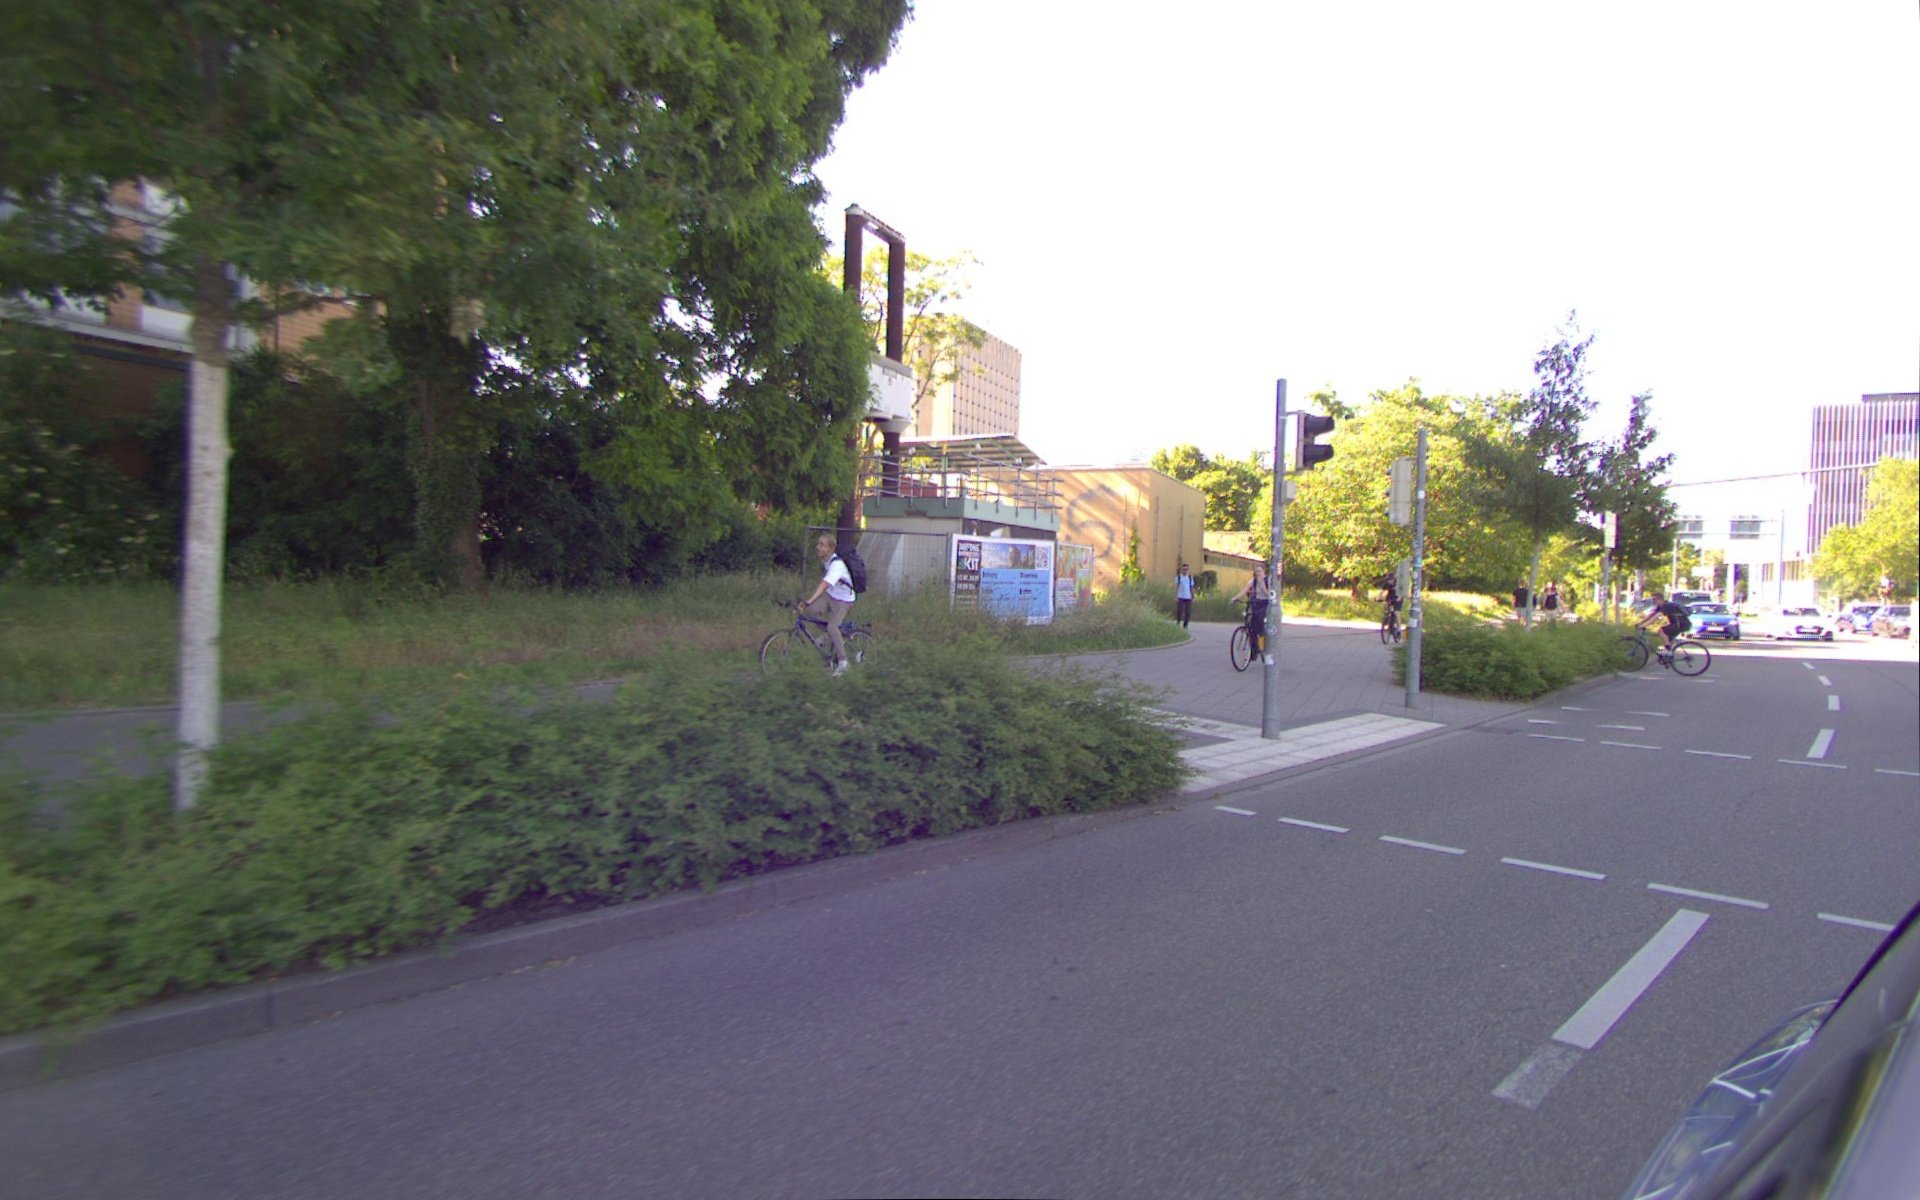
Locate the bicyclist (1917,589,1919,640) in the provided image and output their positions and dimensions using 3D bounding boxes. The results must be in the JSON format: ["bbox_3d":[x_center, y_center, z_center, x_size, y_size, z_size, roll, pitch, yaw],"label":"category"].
[{"bbox_3d":[32.537,0.515,33.665,0.740,1.705,0.967,2,2,30],"label":"bicyclist"}]

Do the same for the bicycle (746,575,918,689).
[{"bbox_3d":[-1.437,0.337,11.639,1.924,1.179,0.642,0,4,-44],"label":"bicycle"}]

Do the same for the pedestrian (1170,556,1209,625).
[{"bbox_3d":[5.784,-0.233,25.552,0.664,1.664,0.737,3,-1,-9],"label":"pedestrian"}]

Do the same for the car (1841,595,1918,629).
[{"bbox_3d":[45.281,0.545,49.932,1.968,1.574,4.670,1,0,32],"label":"car"}]

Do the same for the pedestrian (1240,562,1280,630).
[{"bbox_3d":[7.594,-0.107,25.662,0.664,1.664,0.737,3,-1,-9],"label":"pedestrian"}]

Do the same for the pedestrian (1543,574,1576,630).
[{"bbox_3d":[20.119,0.066,33.961,0.724,1.839,0.729,4,-2,-44],"label":"pedestrian"}]

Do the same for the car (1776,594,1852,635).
[{"bbox_3d":[33.779,0.517,40.141,1.988,1.487,3.948,2,2,36],"label":"car"}]

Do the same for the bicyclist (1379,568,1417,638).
[{"bbox_3d":[10.731,0.064,24.780,0.640,1.666,0.766,2,1,38],"label":"bicyclist"}]

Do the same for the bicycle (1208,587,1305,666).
[{"bbox_3d":[4.838,0.401,16.454,1.839,1.179,0.642,0,3,-44],"label":"bicycle"}]

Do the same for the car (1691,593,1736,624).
[{"bbox_3d":[51.088,0.558,68.687,1.923,1.977,4.483,1,0,30],"label":"car"}]

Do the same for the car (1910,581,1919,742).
[{"bbox_3d":[12.017,0.641,9.894,4.541,1.614,1.776,0,1,-14],"label":"car"}]

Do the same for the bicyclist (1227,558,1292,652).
[{"bbox_3d":[4.867,0.070,16.450,0.764,1.462,0.642,0,3,-44],"label":"bicyclist"}]

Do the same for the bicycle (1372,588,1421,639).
[{"bbox_3d":[10.670,0.320,24.707,0.640,1.179,1.844,2,1,38],"label":"bicycle"}]

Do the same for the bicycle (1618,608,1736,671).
[{"bbox_3d":[14.379,0.770,20.366,1.853,1.180,0.637,1,0,28],"label":"bicycle"}]

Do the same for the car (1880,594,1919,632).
[{"bbox_3d":[41.270,0.542,43.309,1.968,1.574,4.670,1,0,32],"label":"car"}]

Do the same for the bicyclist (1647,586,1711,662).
[{"bbox_3d":[14.432,0.469,20.343,0.944,1.462,0.637,1,0,28],"label":"bicyclist"}]

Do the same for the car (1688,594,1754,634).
[{"bbox_3d":[29.790,0.503,39.729,1.692,1.460,3.955,1,0,32],"label":"car"}]

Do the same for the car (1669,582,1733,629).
[{"bbox_3d":[33.192,0.242,45.425,1.924,1.977,4.703,1,0,32],"label":"car"}]

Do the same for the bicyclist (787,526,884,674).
[{"bbox_3d":[-1.429,-0.014,11.618,0.819,1.614,0.630,0,4,-44],"label":"bicyclist"}]

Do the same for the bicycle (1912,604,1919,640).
[{"bbox_3d":[32.577,0.780,33.757,0.742,1.179,1.851,2,3,30],"label":"bicycle"}]

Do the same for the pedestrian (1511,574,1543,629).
[{"bbox_3d":[19.420,0.051,34.661,0.724,1.804,0.729,4,-2,-44],"label":"pedestrian"}]
